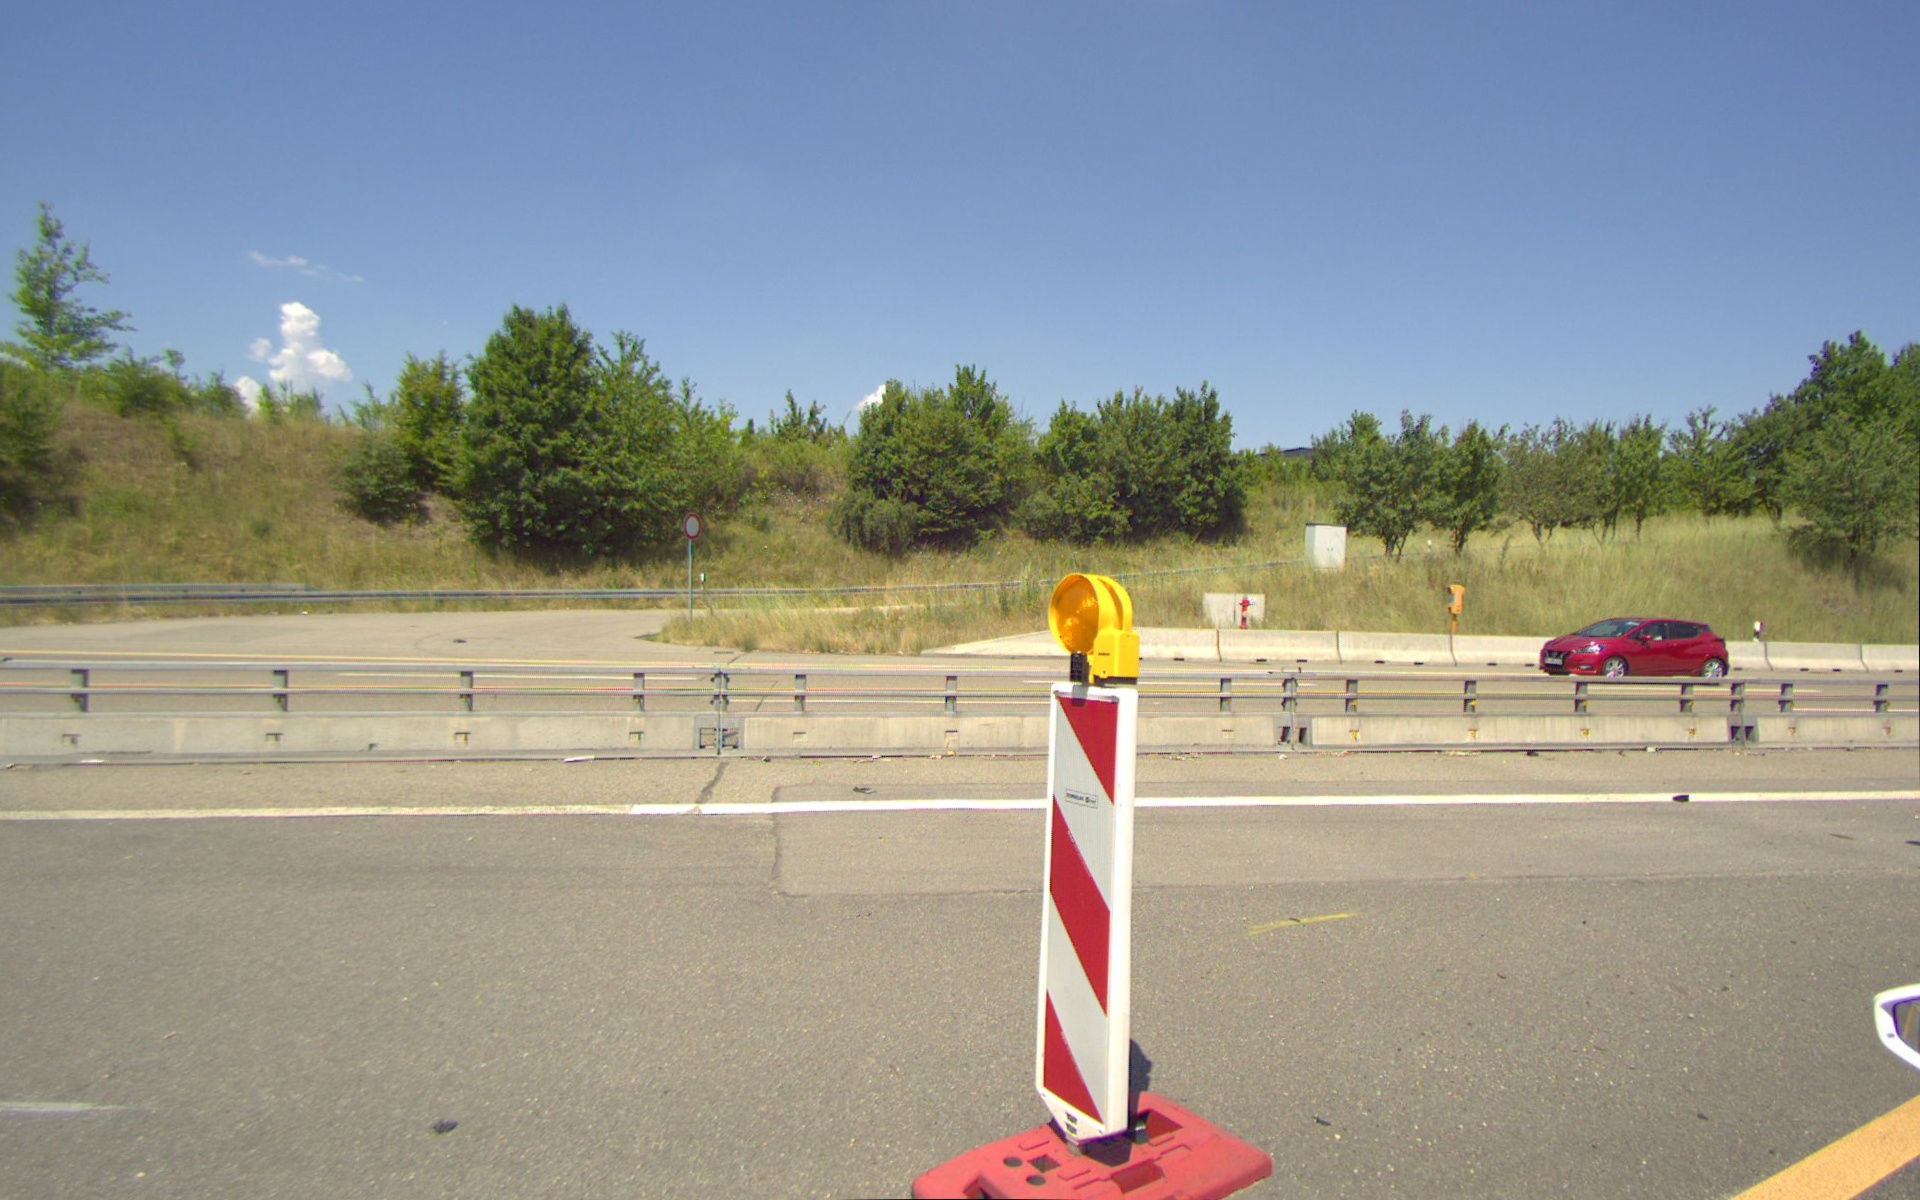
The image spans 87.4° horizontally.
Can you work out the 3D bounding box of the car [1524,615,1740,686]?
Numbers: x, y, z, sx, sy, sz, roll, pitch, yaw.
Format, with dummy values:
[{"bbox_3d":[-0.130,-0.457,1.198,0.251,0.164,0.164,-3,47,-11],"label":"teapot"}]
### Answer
[{"bbox_3d":[15.074,1.122,22.612,3.927,1.413,1.690,2,0,-9],"label":"car"}]
